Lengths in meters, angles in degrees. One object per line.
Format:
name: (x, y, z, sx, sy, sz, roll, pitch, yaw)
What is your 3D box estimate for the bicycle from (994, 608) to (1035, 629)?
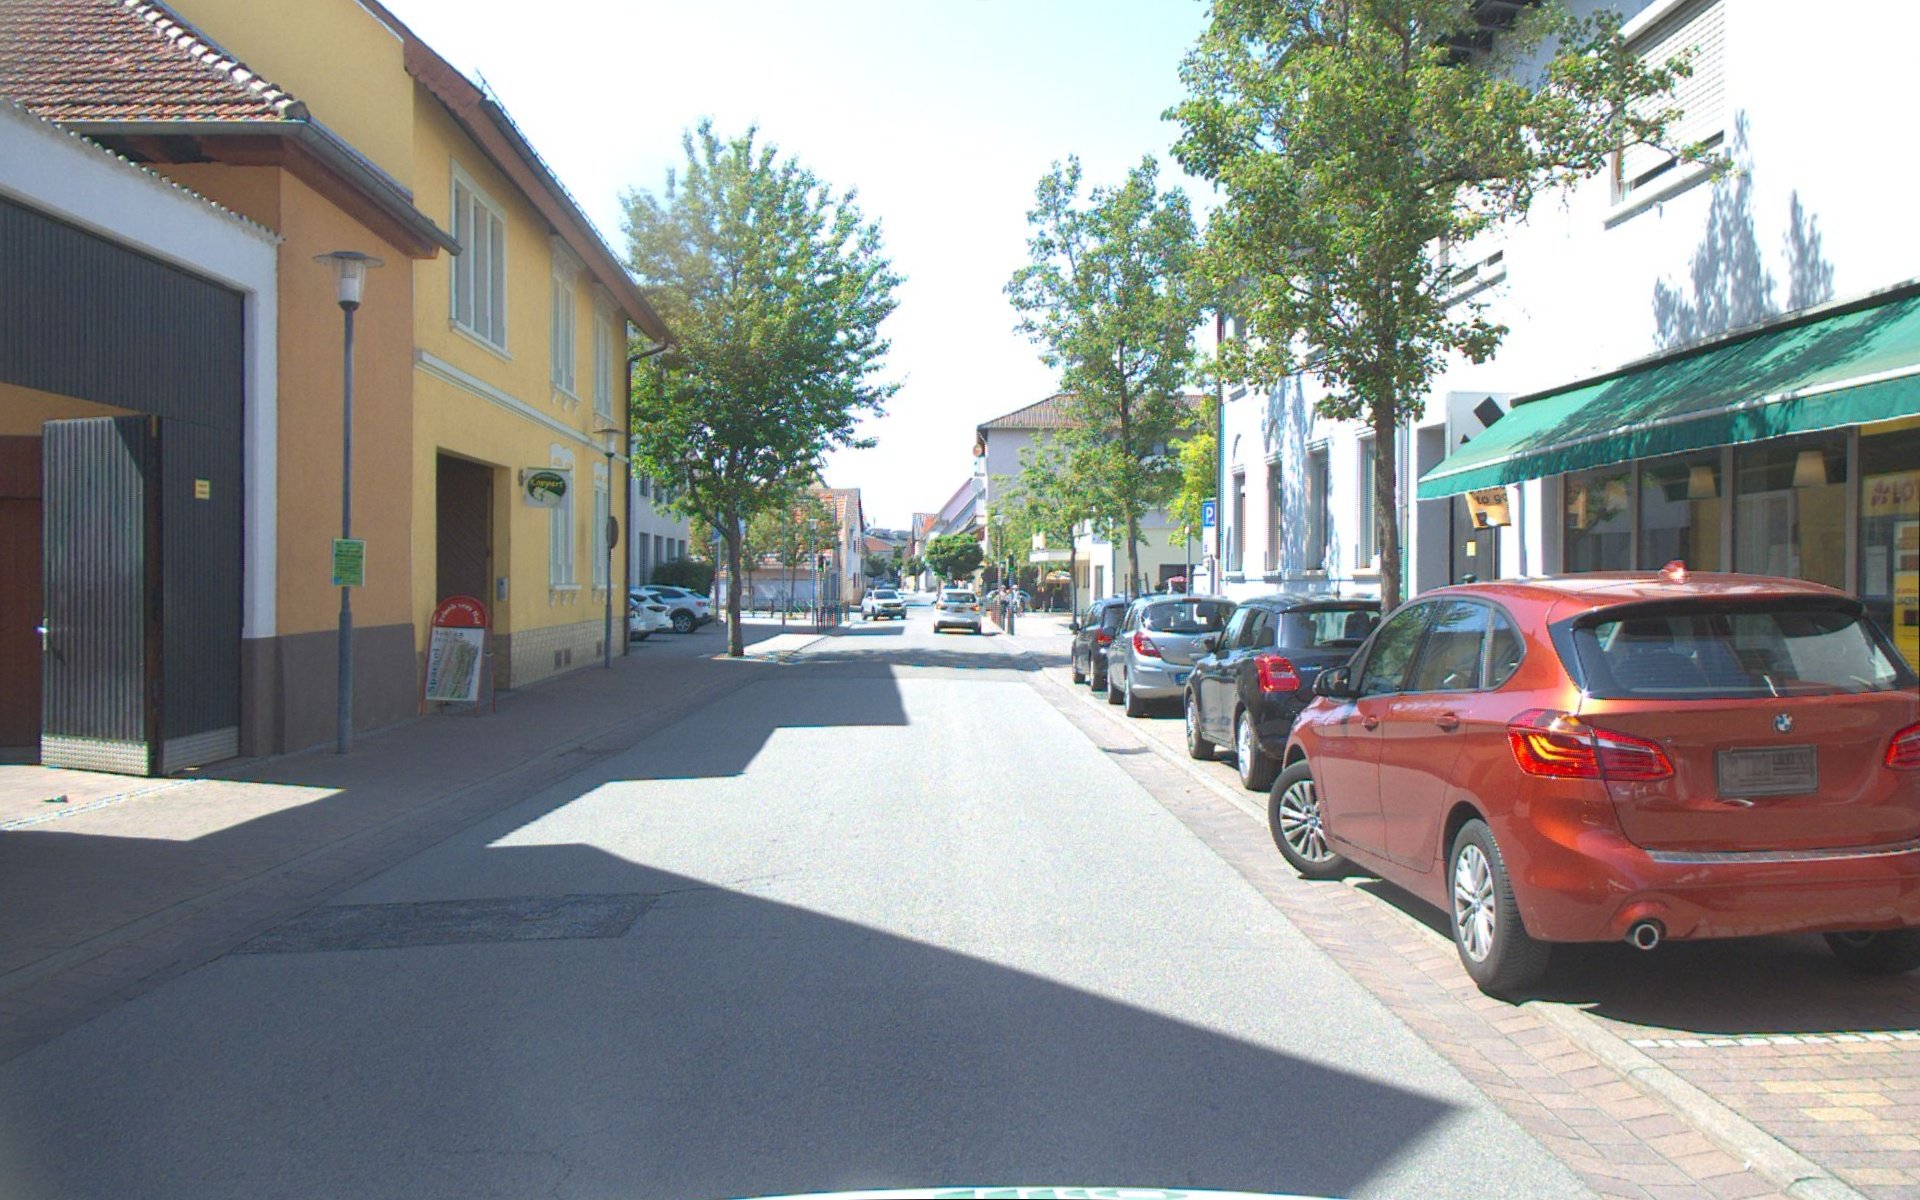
bicycle: (2.671, 0.893, 80.894, 1.864, 0.974, 0.671, 0, 0, -23)

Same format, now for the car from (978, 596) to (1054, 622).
car: (3.409, 0.548, 101.761, 4.343, 1.490, 1.881, 2, -1, -12)

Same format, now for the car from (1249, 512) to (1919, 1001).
car: (2.695, 0.487, 7.596, 1.793, 1.616, 4.085, -1, 1, -4)

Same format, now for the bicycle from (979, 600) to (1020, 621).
bicycle: (1.888, 0.512, 79.463, 1.860, 0.974, 0.672, -1, 1, -18)

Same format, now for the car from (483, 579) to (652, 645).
car: (-10.070, 0.298, 42.642, 3.908, 1.476, 1.806, 3, 0, -3)

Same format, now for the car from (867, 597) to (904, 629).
car: (-3.904, 0.681, 86.968, 1.814, 1.601, 3.999, 1, -1, -1)

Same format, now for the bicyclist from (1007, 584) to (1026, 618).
bicyclist: (2.762, 0.048, 80.955, 0.749, 1.693, 0.666, 0, -1, -23)

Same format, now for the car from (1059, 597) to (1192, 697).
car: (2.698, 0.726, 27.794, 1.669, 1.507, 3.920, 2, 0, -2)

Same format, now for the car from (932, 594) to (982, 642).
car: (-0.133, 0.633, 61.693, 1.796, 1.680, 4.000, -1, 1, -1)

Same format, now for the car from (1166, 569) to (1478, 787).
car: (2.922, 0.629, 14.126, 1.702, 1.540, 3.733, 3, -2, -2)

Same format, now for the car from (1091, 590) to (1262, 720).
car: (2.761, 0.657, 21.879, 1.682, 1.507, 4.095, 2, 0, 0)

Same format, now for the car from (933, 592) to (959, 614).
car: (-0.986, 0.218, 119.407, 1.768, 1.528, 4.000, 1, 0, 1)

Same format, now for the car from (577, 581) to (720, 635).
car: (-10.521, 0.272, 56.095, 4.417, 1.581, 2.146, 3, -1, -3)

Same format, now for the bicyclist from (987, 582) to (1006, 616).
bicyclist: (1.744, -0.047, 79.406, 0.747, 1.609, 0.668, -1, 1, -17)

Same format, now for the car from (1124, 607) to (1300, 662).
car: (6.870, 0.929, 45.323, 4.450, 1.466, 1.836, 0, -1, -8)

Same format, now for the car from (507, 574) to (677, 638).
car: (-10.543, 0.197, 47.686, 4.413, 1.581, 1.934, 3, -2, -2)
